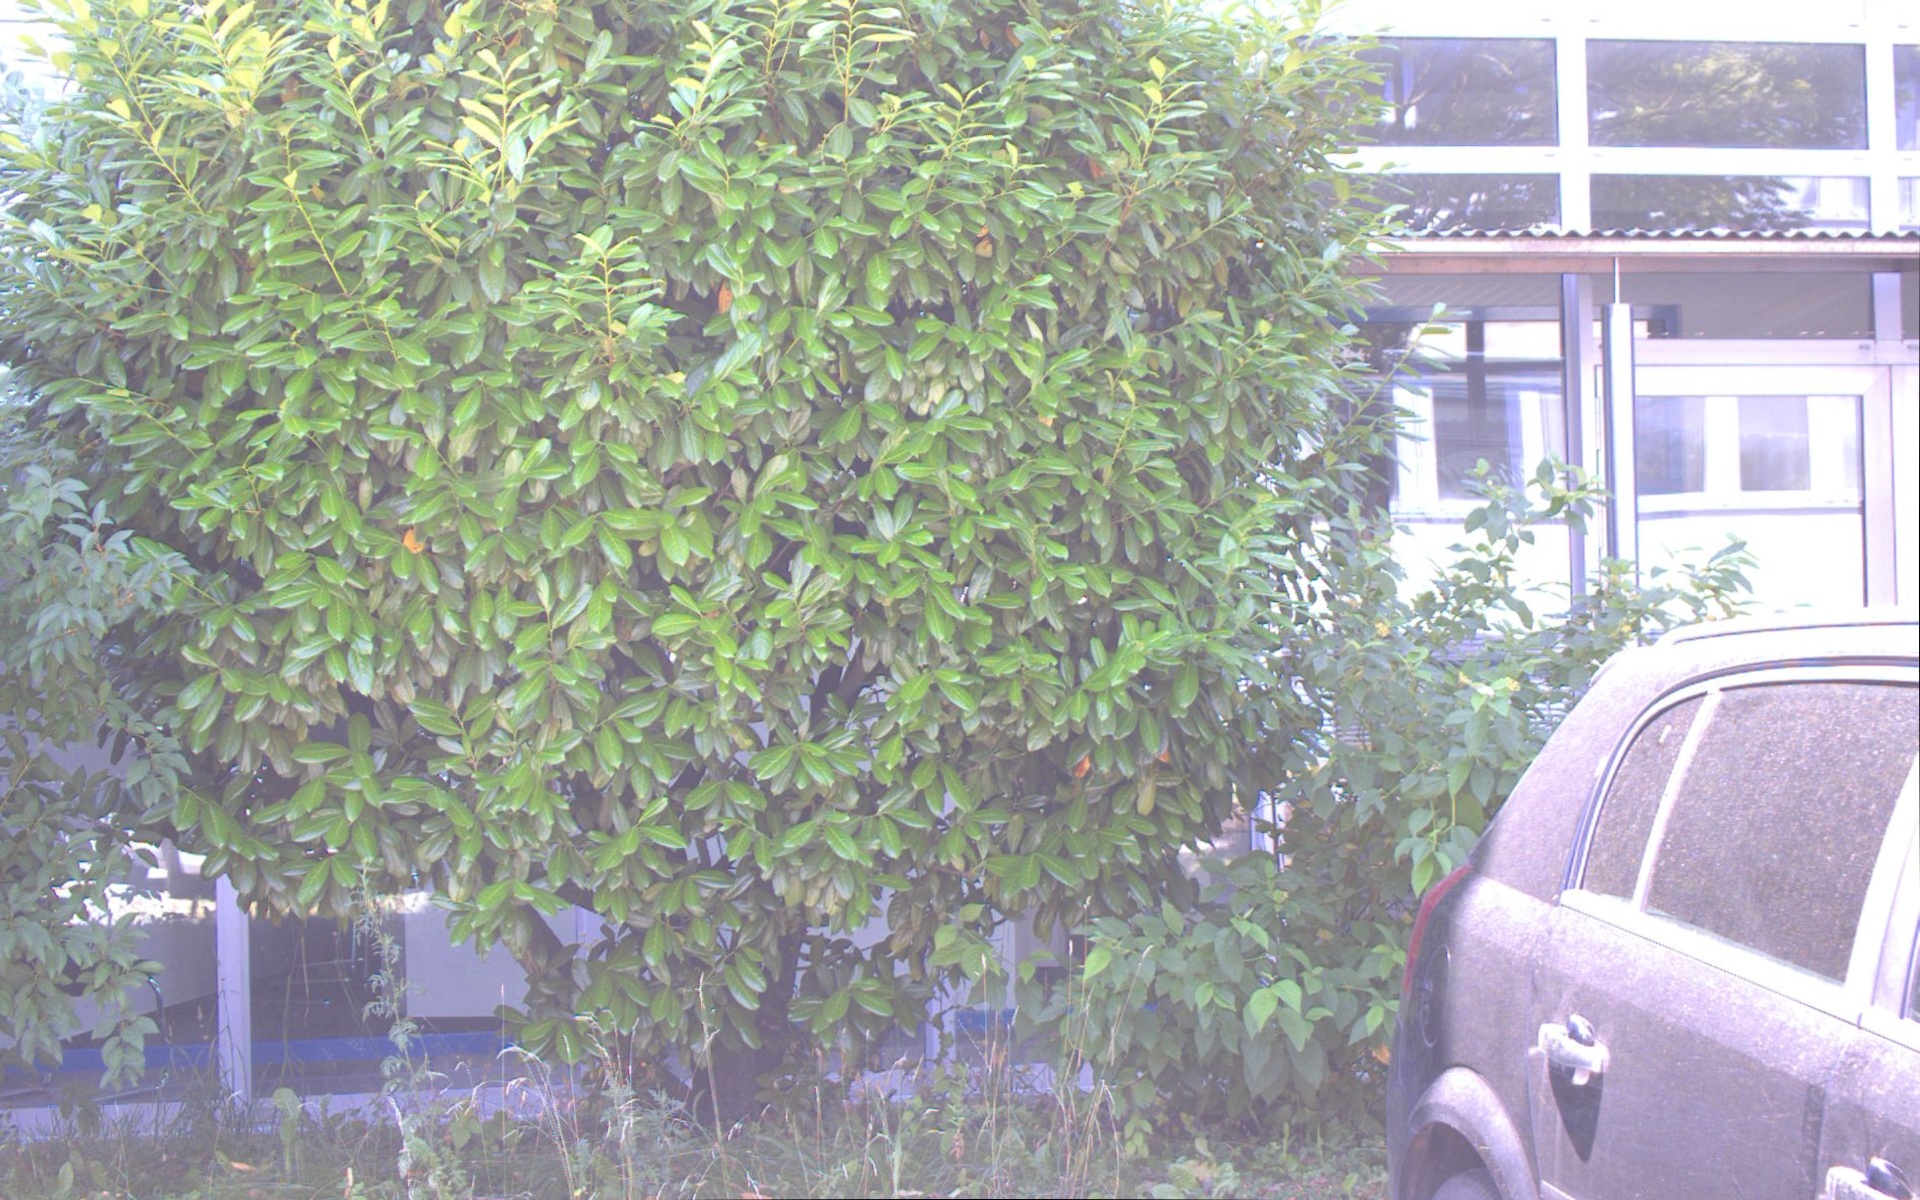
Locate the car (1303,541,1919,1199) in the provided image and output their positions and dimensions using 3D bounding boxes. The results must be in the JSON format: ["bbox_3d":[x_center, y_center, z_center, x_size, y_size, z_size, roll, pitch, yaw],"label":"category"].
[{"bbox_3d":[1.818,0.716,3.669,1.757,1.544,4.566,0,0,-9],"label":"car"}]
